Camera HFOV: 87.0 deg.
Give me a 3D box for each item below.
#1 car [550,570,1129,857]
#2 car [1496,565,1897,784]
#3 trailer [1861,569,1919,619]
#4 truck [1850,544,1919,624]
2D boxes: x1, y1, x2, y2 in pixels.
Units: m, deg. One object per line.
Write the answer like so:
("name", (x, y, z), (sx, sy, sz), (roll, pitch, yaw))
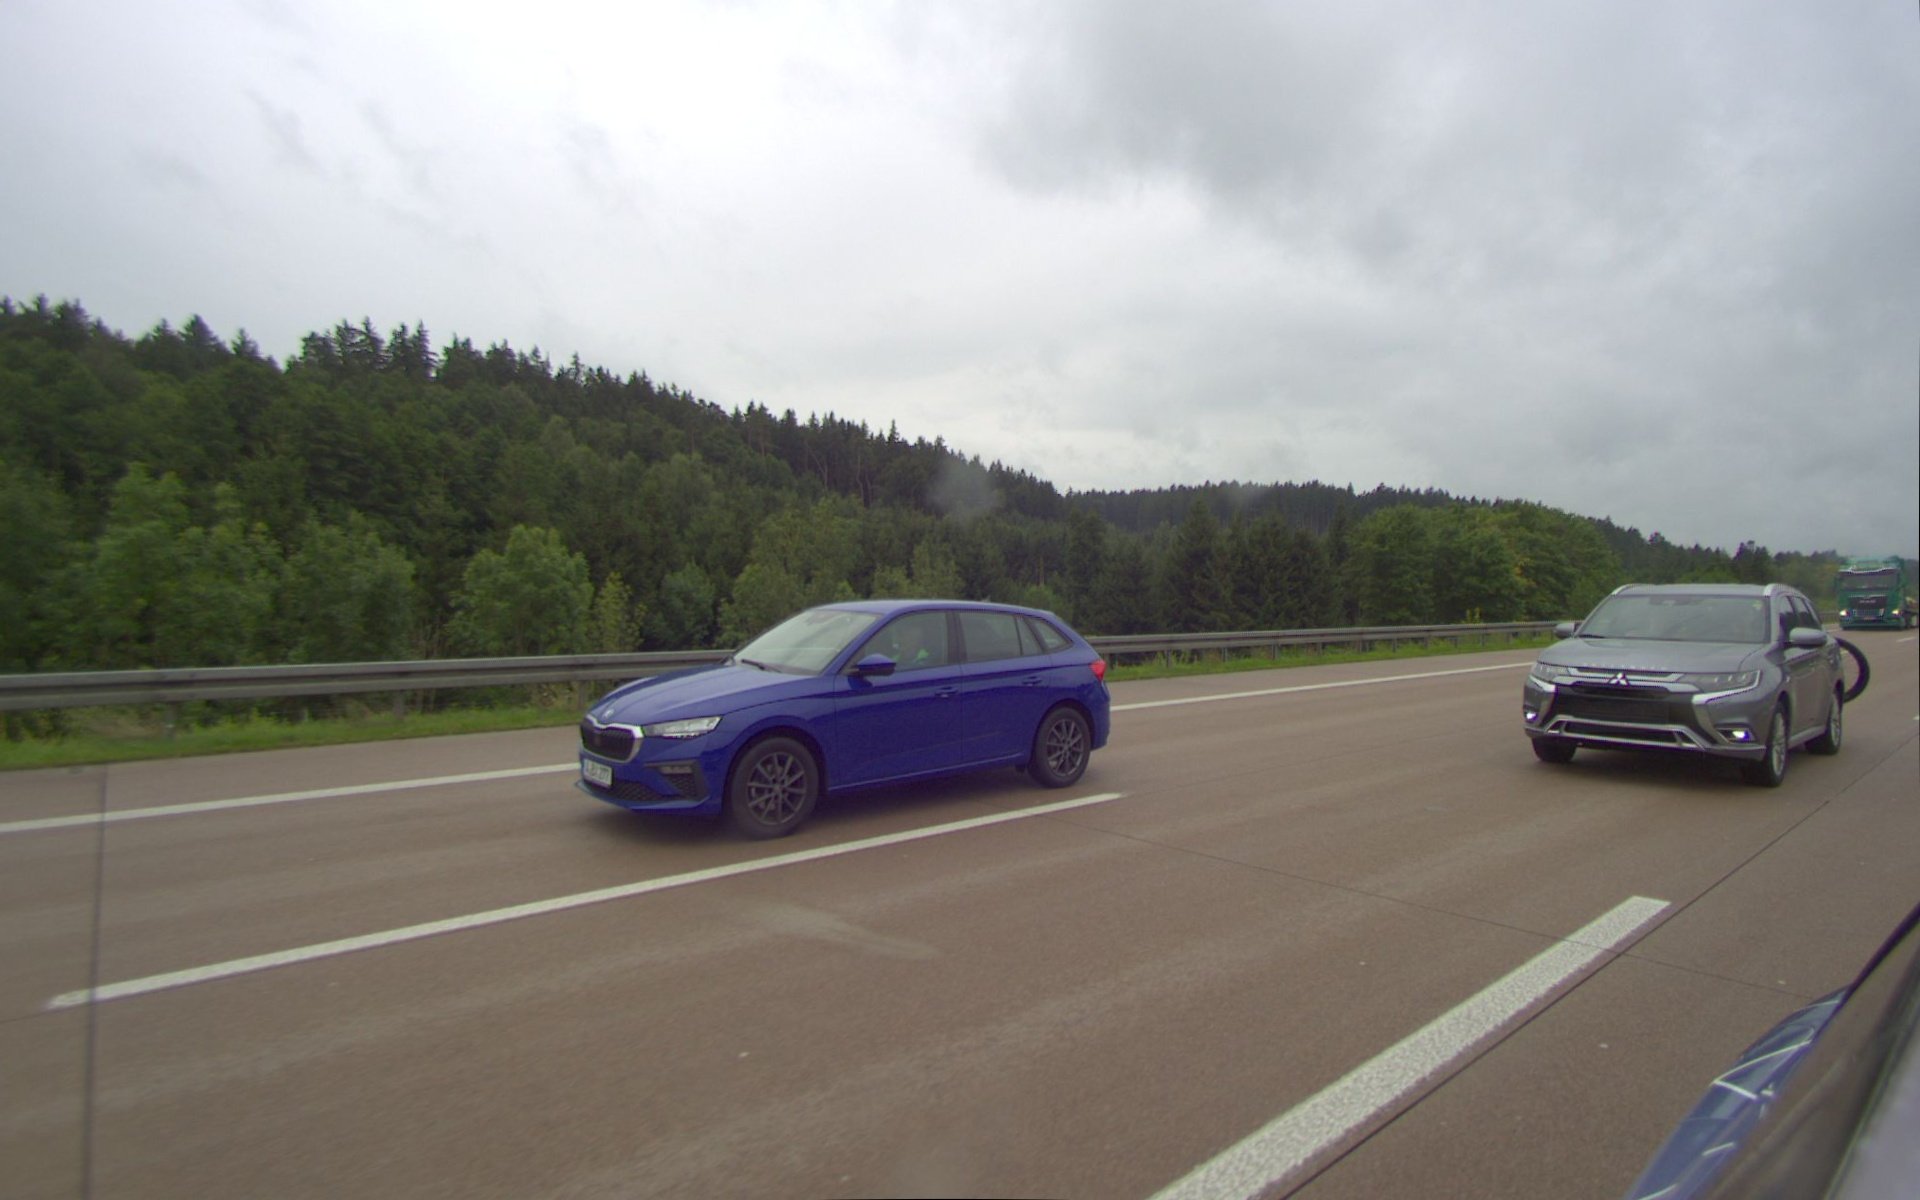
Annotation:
("car", (-0.714, 0.592, 7.665), (4.076, 1.583, 1.773), (-2, 1, -42))
("car", (7.584, 0.489, 10.123), (5.719, 1.612, 1.997), (-2, 1, -41))
("trailer", (55.112, -0.439, 59.059), (11.211, 2.709, 2.883), (-2, 1, -44))
("truck", (49.468, -0.878, 53.626), (6.874, 4.014, 2.899), (-2, 1, -44))
